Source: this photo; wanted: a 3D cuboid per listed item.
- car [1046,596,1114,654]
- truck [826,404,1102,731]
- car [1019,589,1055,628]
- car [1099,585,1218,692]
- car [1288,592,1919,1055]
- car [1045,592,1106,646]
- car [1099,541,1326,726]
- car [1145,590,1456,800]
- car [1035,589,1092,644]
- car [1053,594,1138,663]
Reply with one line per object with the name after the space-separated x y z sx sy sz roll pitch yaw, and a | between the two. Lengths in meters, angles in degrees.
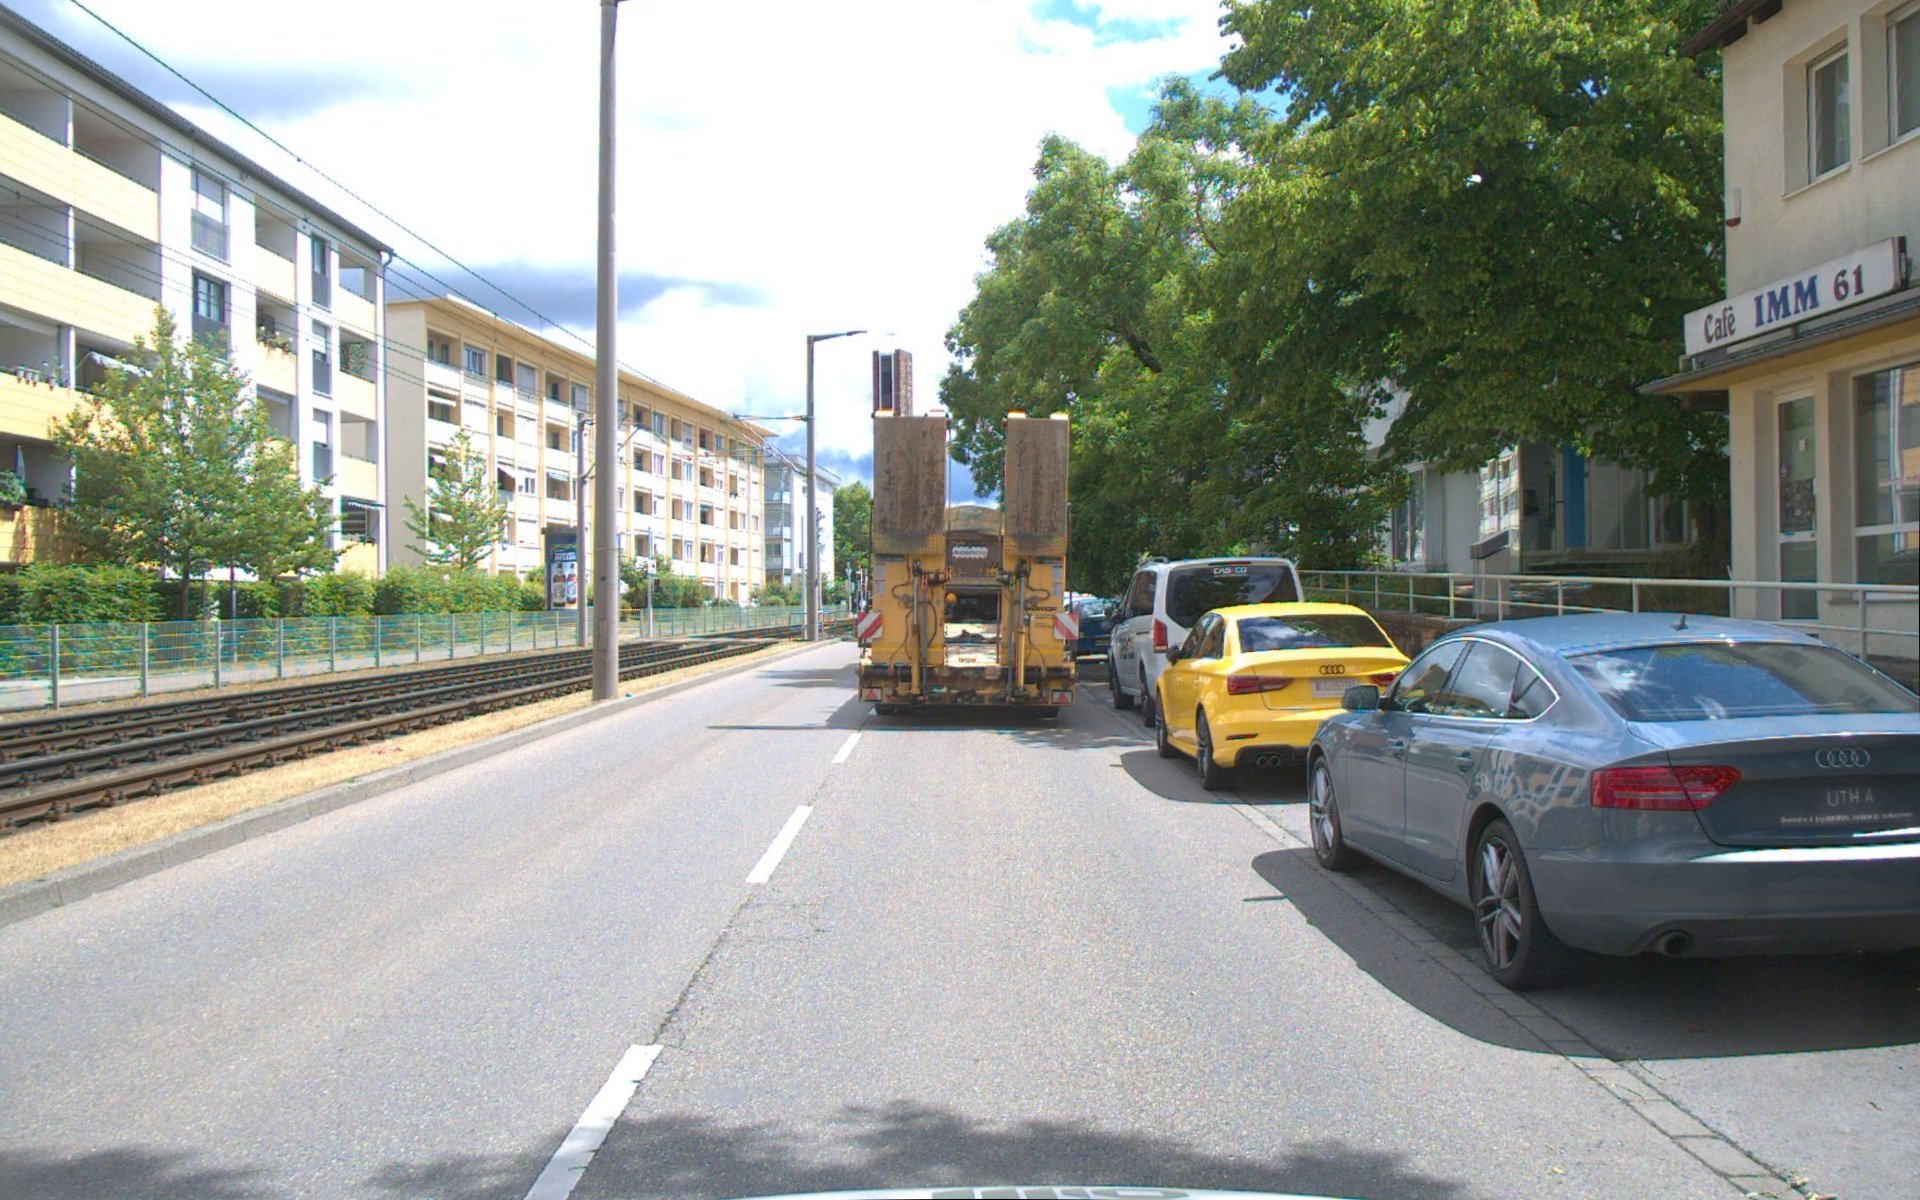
3.237 0.650 45.163 1.611 1.516 3.822 0 0 1 | car
-0.059 -0.405 24.611 3.060 3.627 12.457 0 0 -1 | truck
4.078 0.423 88.197 1.762 2.003 4.591 -1 0 1 | car
3.104 0.574 26.298 1.482 1.560 2.847 -2 0 0 | car
2.909 0.718 7.660 1.720 1.467 4.492 -1 0 -2 | car
3.480 0.535 50.303 1.549 1.579 3.474 0 0 -1 | car
3.018 0.353 21.045 1.875 1.993 5.743 -1 0 -1 | car
2.721 0.680 14.209 1.719 1.467 4.340 -2 0 0 | car
3.409 0.521 54.819 1.785 1.711 4.577 -1 0 3 | car
3.112 0.632 38.601 1.575 1.482 3.675 -2 0 -1 | car
